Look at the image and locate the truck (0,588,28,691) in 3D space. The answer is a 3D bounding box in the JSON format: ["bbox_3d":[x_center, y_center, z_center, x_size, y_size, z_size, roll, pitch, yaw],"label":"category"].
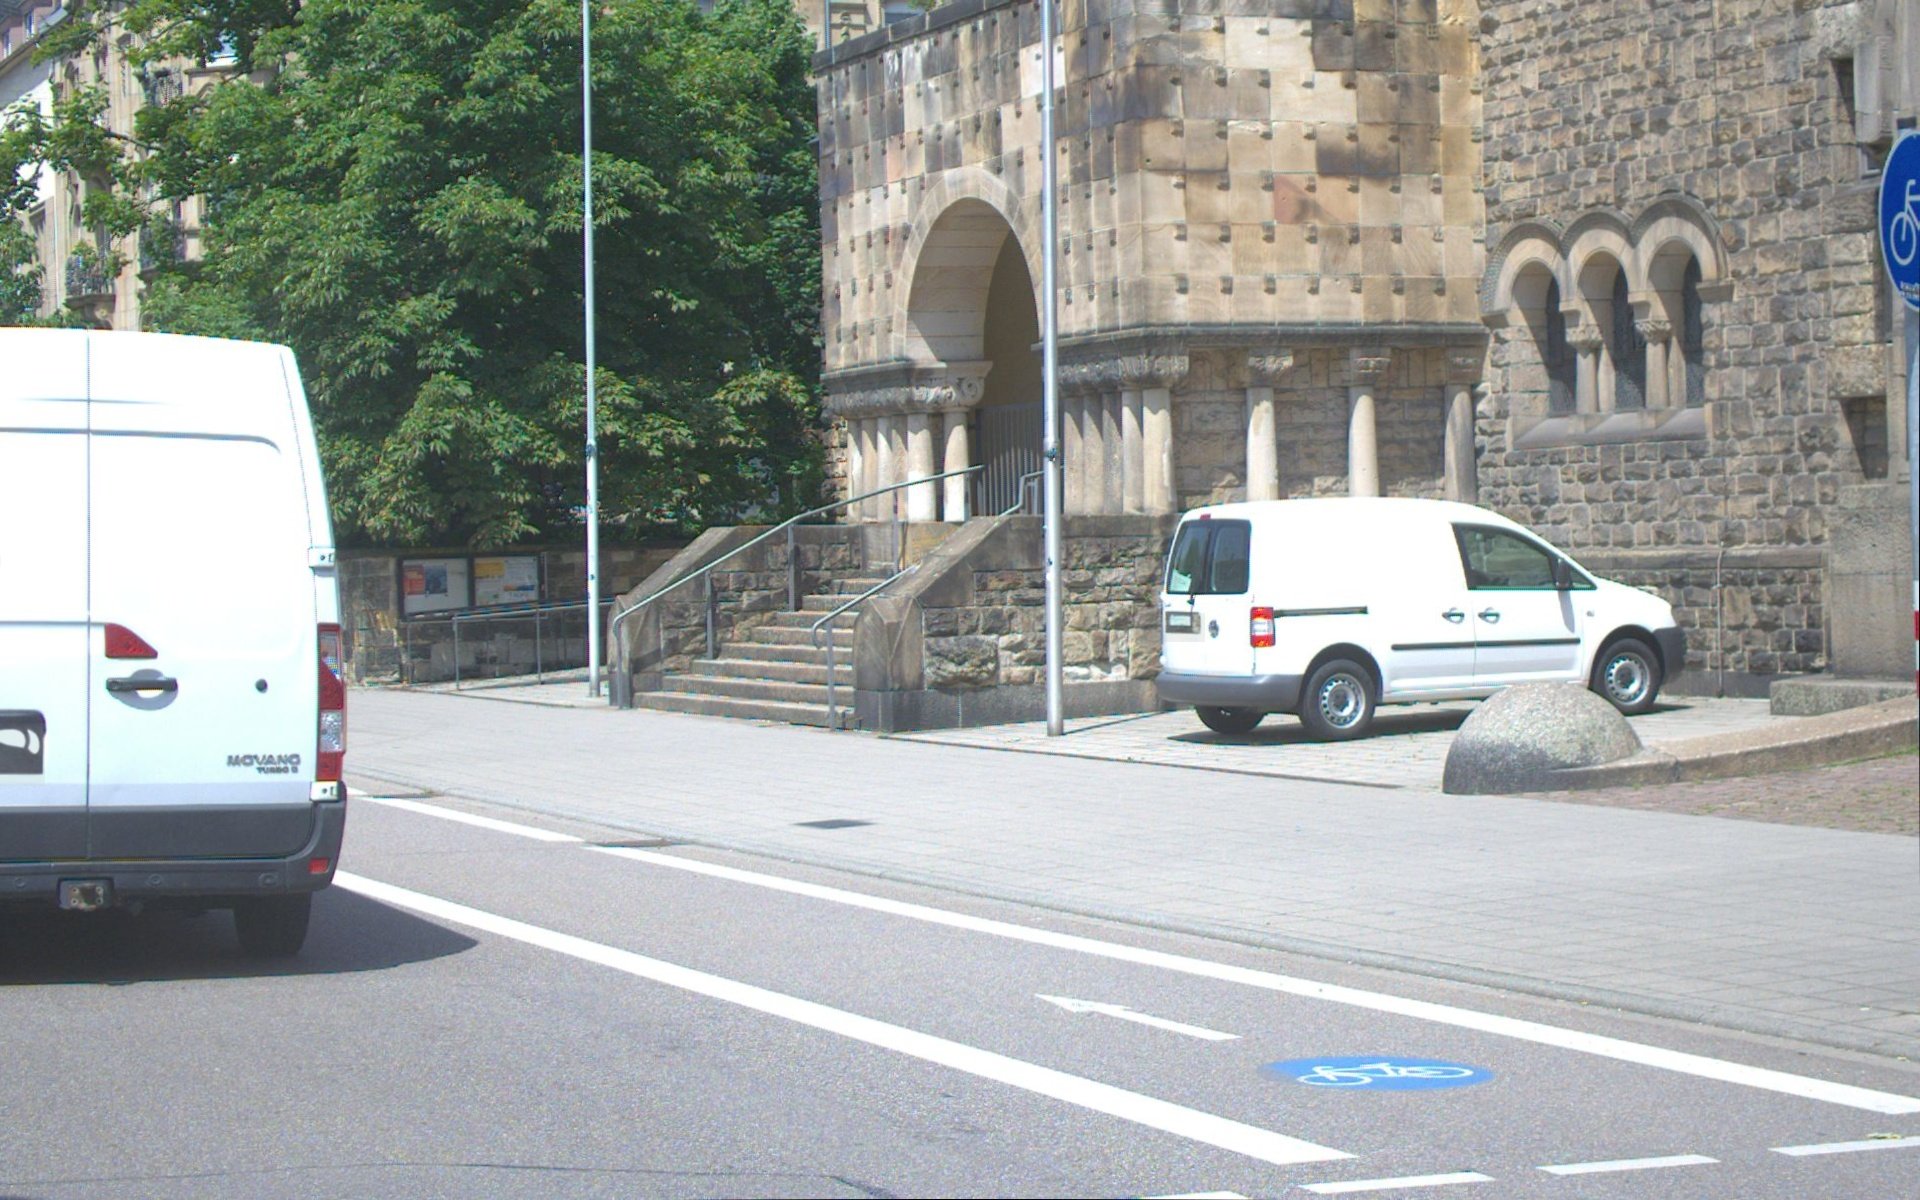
[{"bbox_3d":[-15.649,0.584,52.908,1.789,1.521,4.466,-1,1,-24],"label":"truck"}]

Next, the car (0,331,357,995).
[{"bbox_3d":[-4.174,0.213,15.156,2.116,2.450,5.055,-1,1,-20],"label":"car"}]

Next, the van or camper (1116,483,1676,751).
[{"bbox_3d":[3.451,0.084,27.126,3.987,1.819,1.803,-4,2,-26],"label":"van or camper"}]
